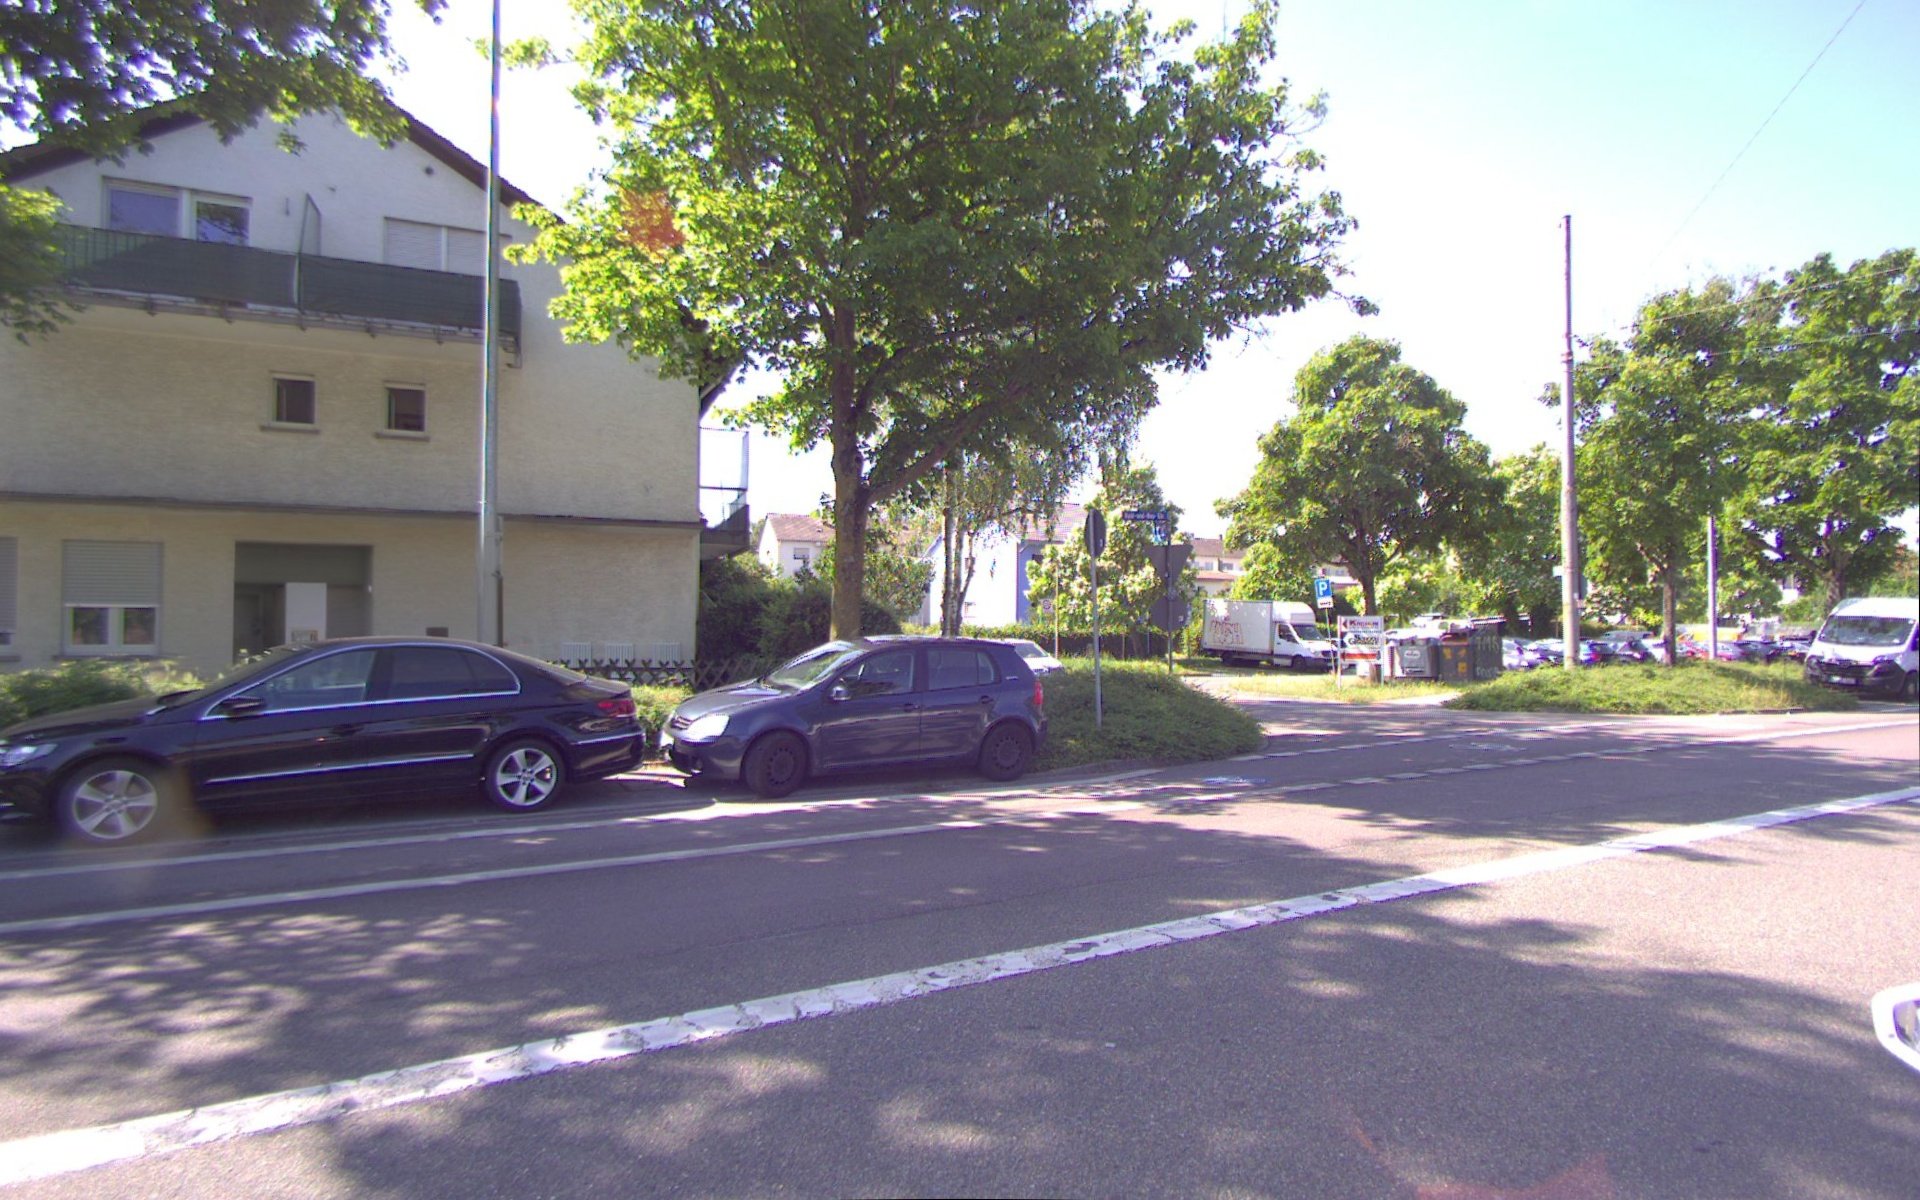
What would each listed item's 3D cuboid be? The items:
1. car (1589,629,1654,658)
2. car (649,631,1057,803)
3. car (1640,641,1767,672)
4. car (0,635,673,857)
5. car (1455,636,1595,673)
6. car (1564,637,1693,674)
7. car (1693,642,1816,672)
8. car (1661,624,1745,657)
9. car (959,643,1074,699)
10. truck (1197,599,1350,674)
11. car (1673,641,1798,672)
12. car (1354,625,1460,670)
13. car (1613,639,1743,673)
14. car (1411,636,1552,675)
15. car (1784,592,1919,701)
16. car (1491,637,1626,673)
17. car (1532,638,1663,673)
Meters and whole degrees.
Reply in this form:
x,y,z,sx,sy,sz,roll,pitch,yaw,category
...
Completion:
x,y,z,sx,sy,sz,roll,pitch,yaw,category
45.129,2.962,68.605,1.535,1.901,3.406,1,-2,-31,car
-1.080,1.111,10.619,3.956,1.470,1.634,2,0,-29,car
31.324,2.346,42.442,1.748,1.241,3.973,1,-2,-27,car
-5.012,1.035,8.454,4.727,1.398,1.682,1,0,-31,car
19.863,1.878,35.459,1.751,1.241,3.967,1,-2,-31,car
26.772,2.185,40.375,1.748,1.368,3.973,1,-2,-27,car
35.465,2.500,44.939,1.748,1.241,3.973,1,-2,-27,car
50.819,2.721,68.768,1.980,2.040,4.228,2,0,-35,car
1.516,1.960,28.506,1.687,1.437,3.979,1,-2,-23,car
14.444,1.600,46.876,2.206,3.059,7.103,1,1,-31,truck
33.625,2.435,43.662,1.748,1.241,3.973,1,-2,-27,car
23.124,2.432,52.075,1.980,2.040,4.663,2,0,-34,car
29.167,2.248,40.916,1.748,1.281,3.973,1,-2,-27,car
17.668,1.849,34.197,1.751,1.241,3.967,1,-2,-31,car
24.106,1.135,25.957,6.227,2.534,2.050,1,1,-28,car
21.988,1.980,37.043,1.748,1.241,3.973,1,-2,-27,car
24.606,2.108,38.891,1.748,1.241,3.973,1,-2,-27,car
